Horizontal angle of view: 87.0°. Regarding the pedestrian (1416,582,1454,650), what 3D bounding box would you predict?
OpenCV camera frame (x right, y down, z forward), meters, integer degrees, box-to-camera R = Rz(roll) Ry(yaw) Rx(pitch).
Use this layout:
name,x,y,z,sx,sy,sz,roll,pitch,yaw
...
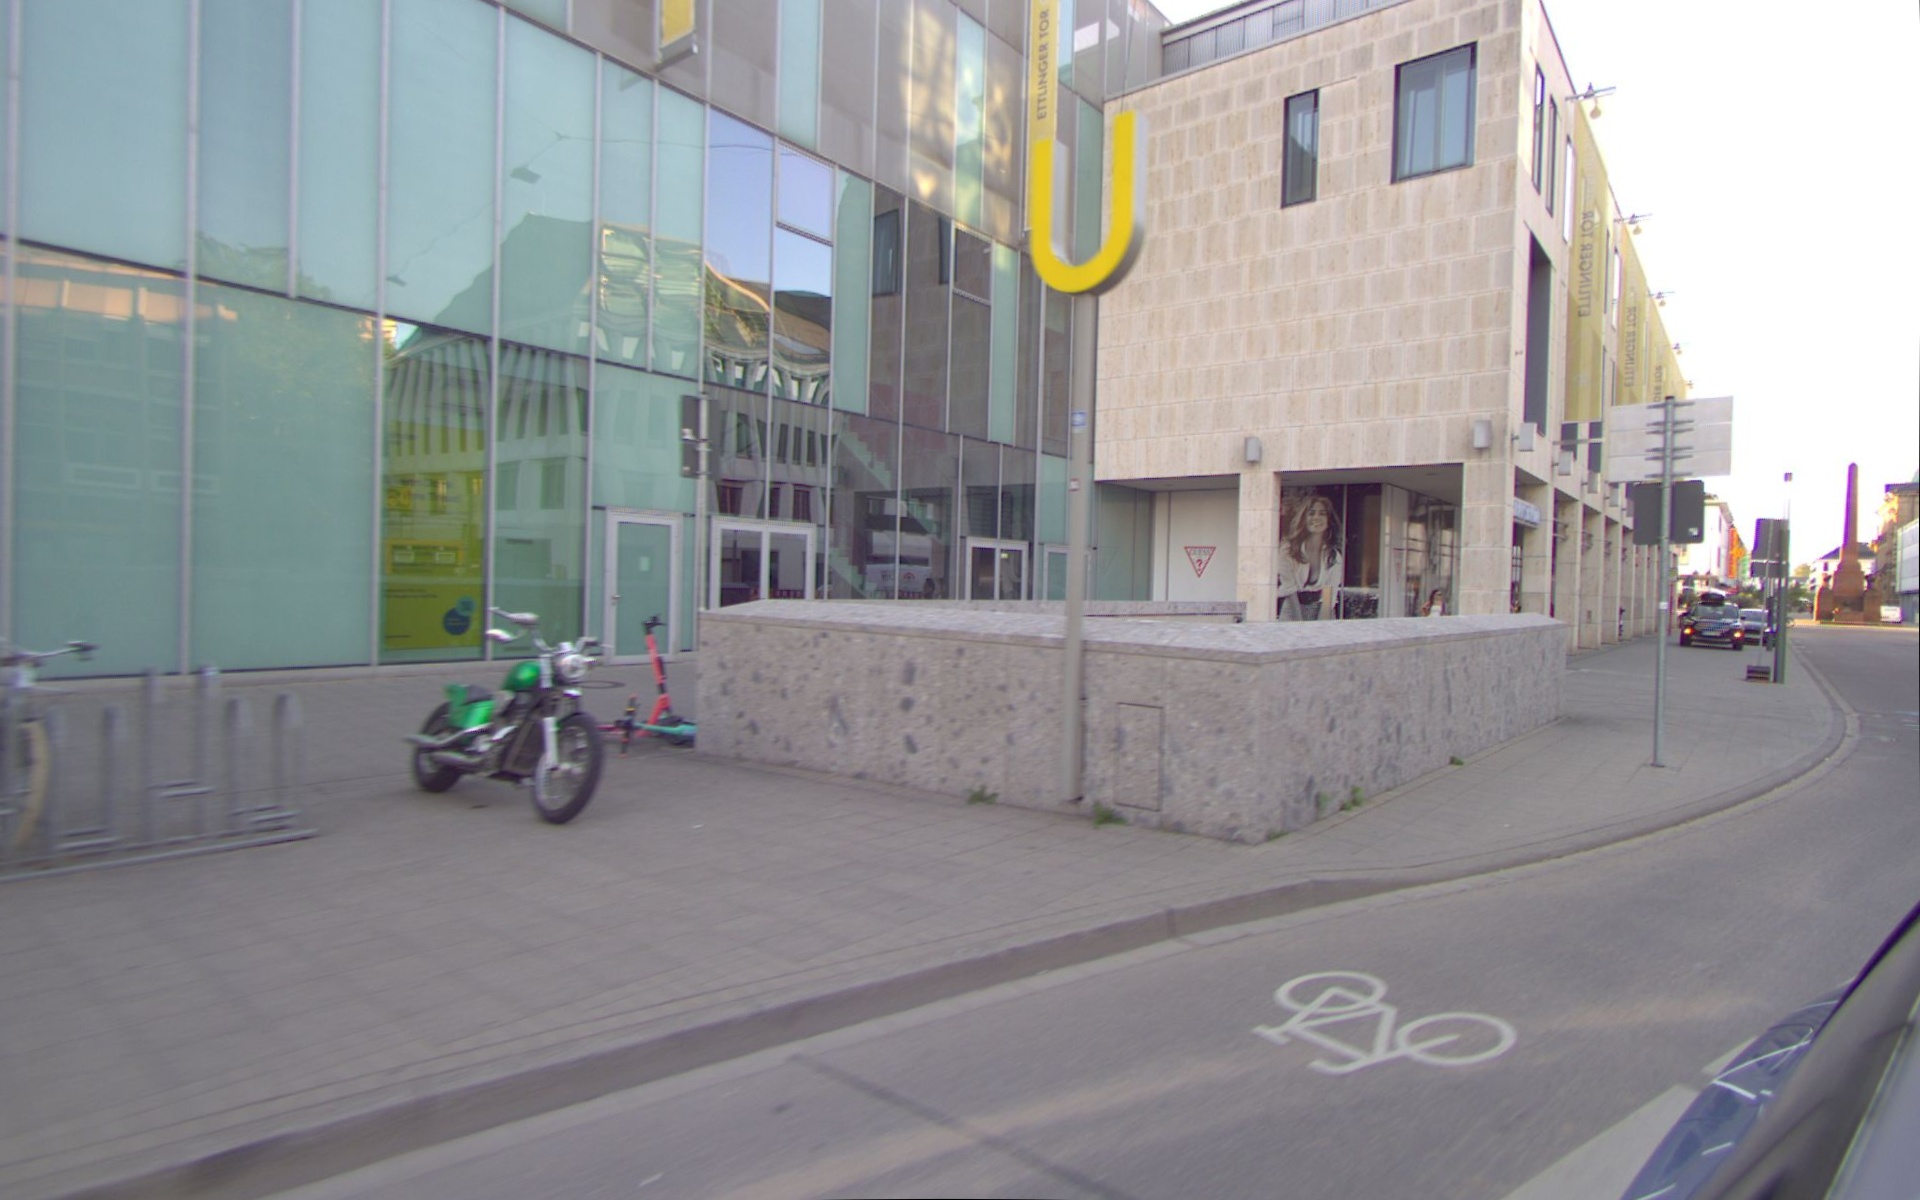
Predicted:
name,x,y,z,sx,sy,sz,roll,pitch,yaw
pedestrian,11.193,0.369,23.853,0.632,1.562,0.764,2,1,38

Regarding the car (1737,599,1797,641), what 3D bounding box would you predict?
name,x,y,z,sx,sy,sz,roll,pitch,yaw
car,34.068,0.788,42.746,1.793,1.508,4.133,6,4,39

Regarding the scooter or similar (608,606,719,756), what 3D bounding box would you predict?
name,x,y,z,sx,sy,sz,roll,pitch,yaw
scooter or similar,-2.656,0.693,9.079,0.854,1.273,0.398,1,0,-40

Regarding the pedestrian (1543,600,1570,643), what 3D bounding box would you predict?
name,x,y,z,sx,sy,sz,roll,pitch,yaw
pedestrian,19.582,0.701,33.202,0.632,1.363,0.764,2,-1,38

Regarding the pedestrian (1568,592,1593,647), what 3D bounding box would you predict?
name,x,y,z,sx,sy,sz,roll,pitch,yaw
pedestrian,20.001,0.624,32.621,0.589,1.720,0.687,2,1,37

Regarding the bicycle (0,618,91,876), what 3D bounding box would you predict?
name,x,y,z,sx,sy,sz,roll,pitch,yaw
bicycle,-5.278,0.725,5.632,1.989,1.143,0.508,3,1,45

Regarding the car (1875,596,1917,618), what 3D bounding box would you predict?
name,x,y,z,sx,sy,sz,roll,pitch,yaw
car,86.543,0.630,93.635,2.007,1.848,4.409,2,1,32

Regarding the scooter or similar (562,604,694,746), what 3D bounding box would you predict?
name,x,y,z,sx,sy,sz,roll,pitch,yaw
scooter or similar,-3.103,0.686,9.494,1.096,1.273,0.399,1,0,2

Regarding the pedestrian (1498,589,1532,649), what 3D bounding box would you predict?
name,x,y,z,sx,sy,sz,roll,pitch,yaw
pedestrian,15.093,0.519,27.515,0.632,1.587,0.764,2,-1,38

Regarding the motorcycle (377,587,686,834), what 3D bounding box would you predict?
name,x,y,z,sx,sy,sz,roll,pitch,yaw
motorcycle,-2.949,0.623,6.844,2.293,1.350,0.895,2,1,37

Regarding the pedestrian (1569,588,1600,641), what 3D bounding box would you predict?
name,x,y,z,sx,sy,sz,roll,pitch,yaw
pedestrian,20.935,0.490,33.929,0.763,1.703,0.864,2,-1,38

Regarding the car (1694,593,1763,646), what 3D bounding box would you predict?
name,x,y,z,sx,sy,sz,roll,pitch,yaw
car,28.138,0.667,37.016,1.766,1.657,4.000,6,4,39
